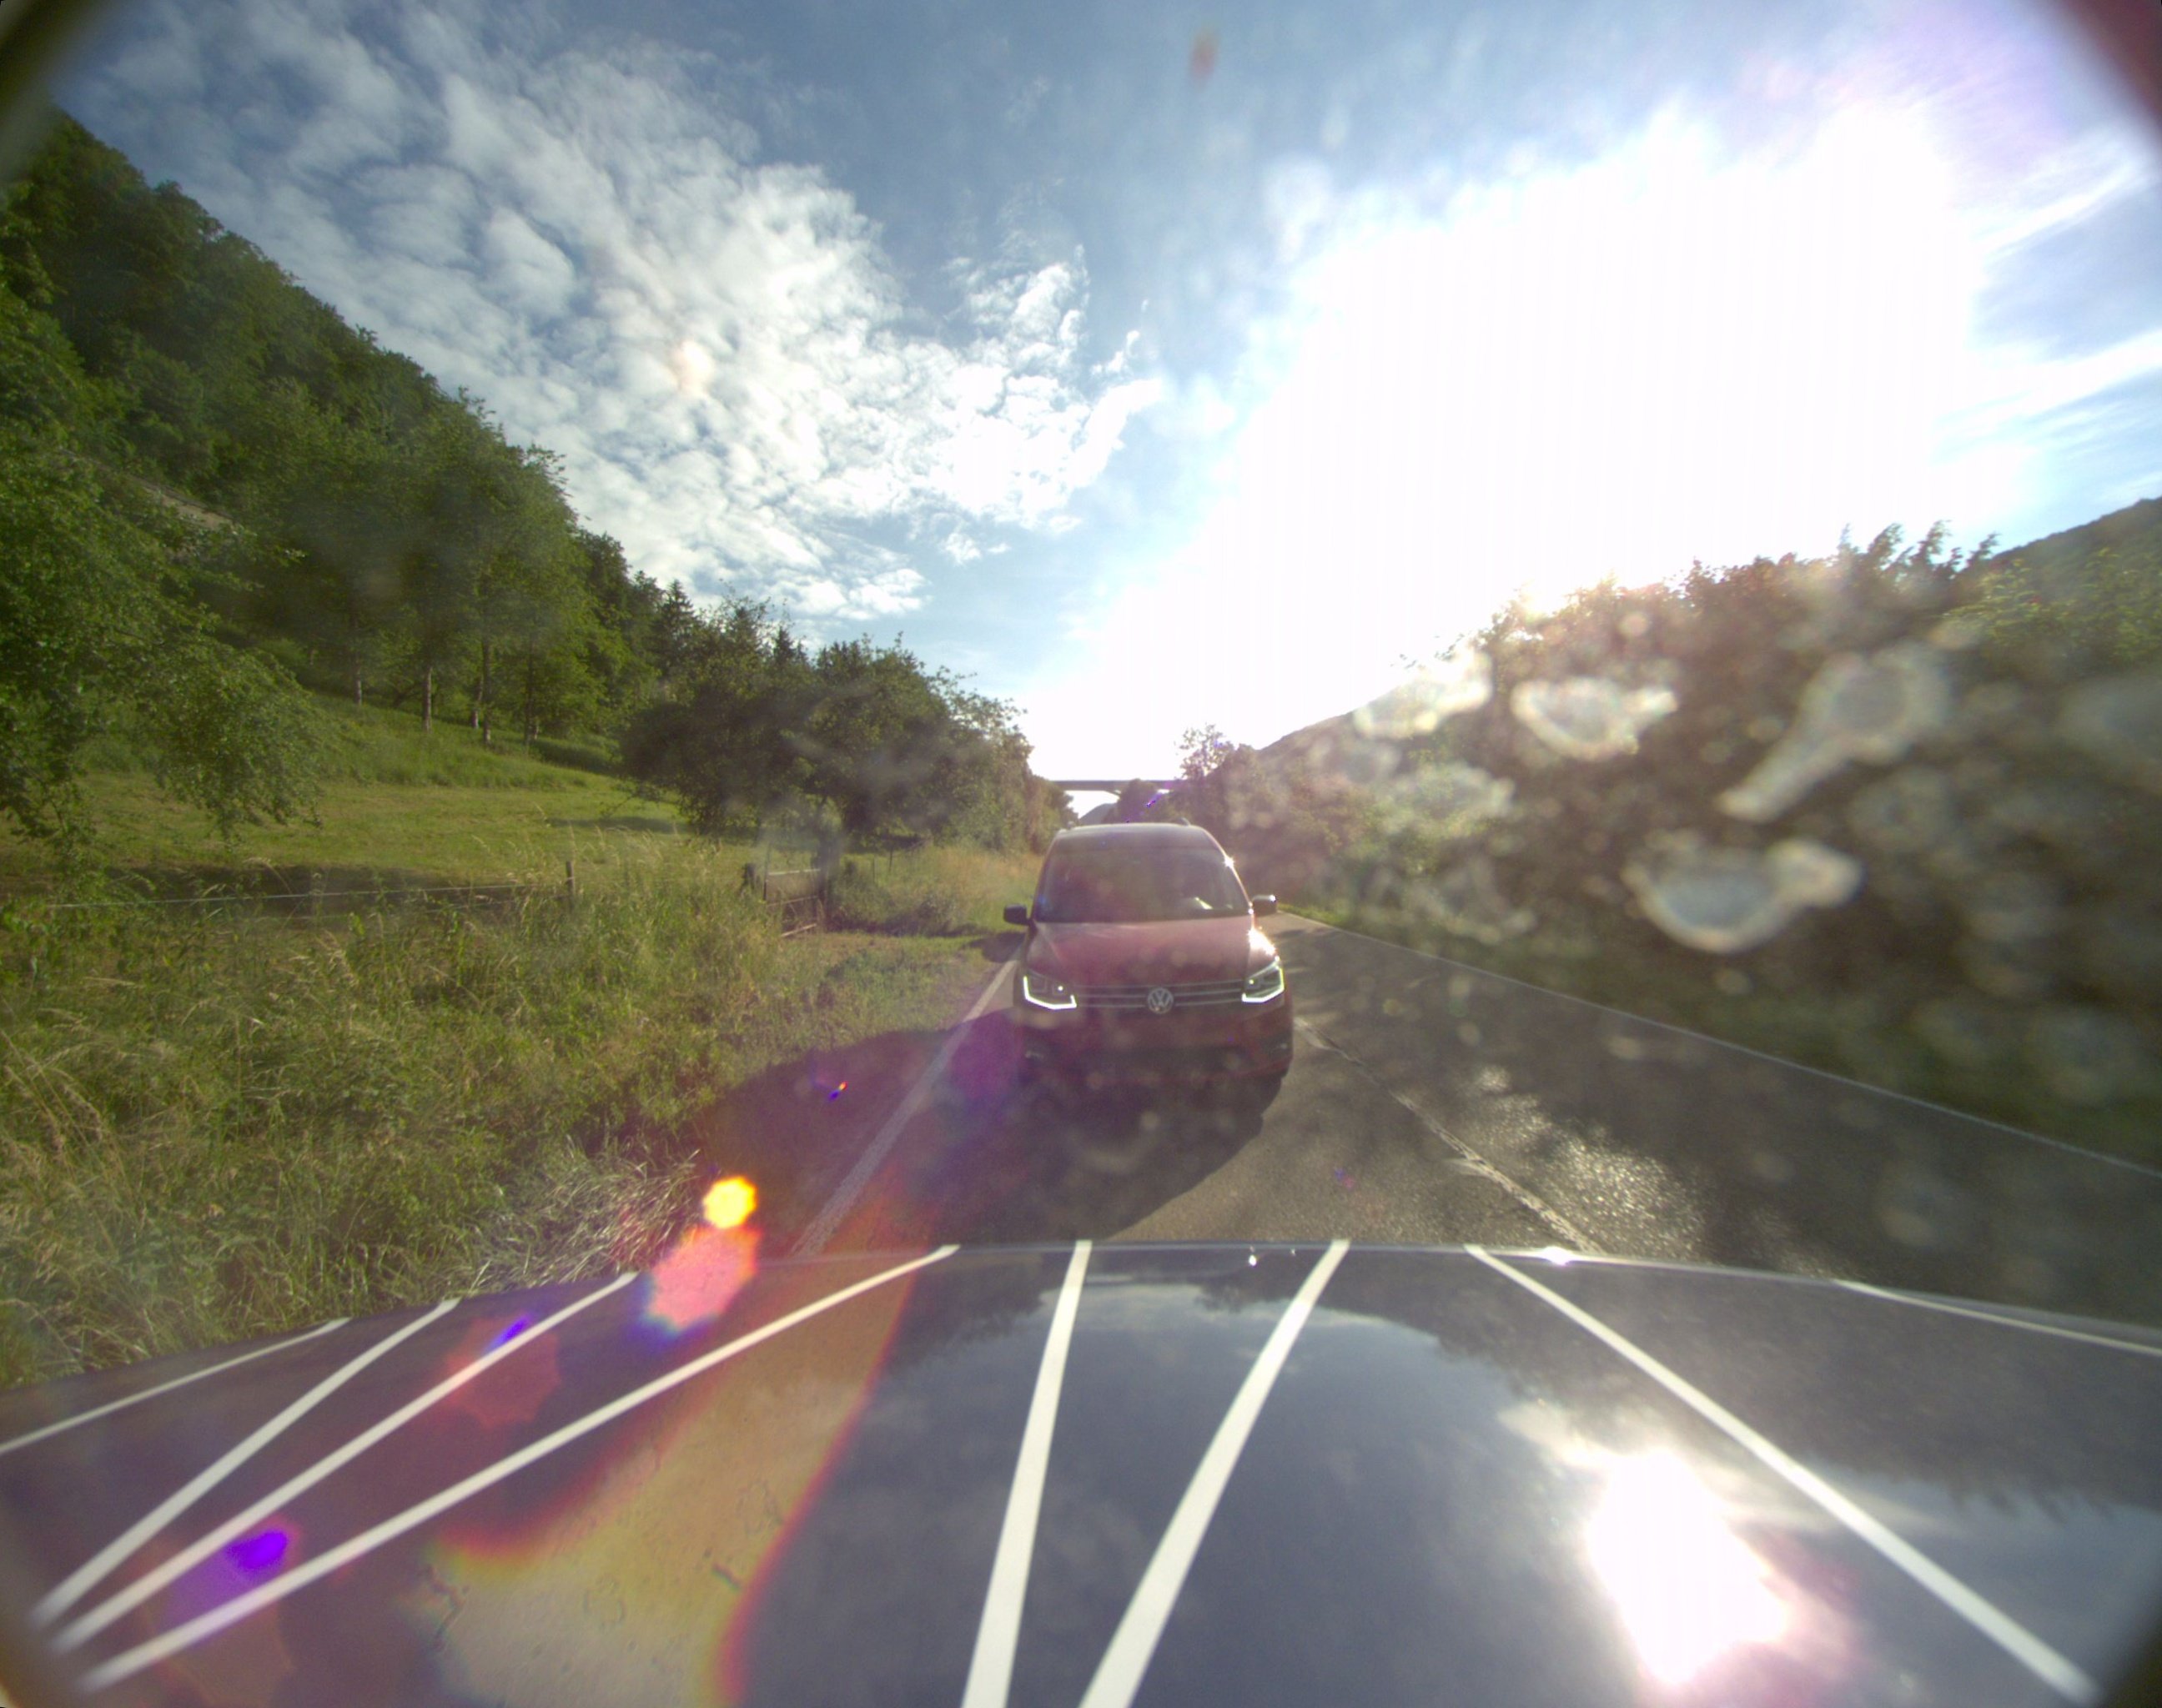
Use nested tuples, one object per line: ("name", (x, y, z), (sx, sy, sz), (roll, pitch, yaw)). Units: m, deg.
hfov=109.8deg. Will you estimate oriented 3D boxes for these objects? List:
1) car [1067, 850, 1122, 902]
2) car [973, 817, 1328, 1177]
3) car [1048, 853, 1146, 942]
("car", (0.476, 0.727, 27.516), (1.753, 1.608, 4.288), (-3, 1, 1))
("car", (0.403, 0.735, 6.122), (1.753, 1.799, 4.288), (-3, 1, 1))
("car", (0.340, 0.813, 16.365), (1.753, 1.513, 4.288), (-3, 1, 1))
